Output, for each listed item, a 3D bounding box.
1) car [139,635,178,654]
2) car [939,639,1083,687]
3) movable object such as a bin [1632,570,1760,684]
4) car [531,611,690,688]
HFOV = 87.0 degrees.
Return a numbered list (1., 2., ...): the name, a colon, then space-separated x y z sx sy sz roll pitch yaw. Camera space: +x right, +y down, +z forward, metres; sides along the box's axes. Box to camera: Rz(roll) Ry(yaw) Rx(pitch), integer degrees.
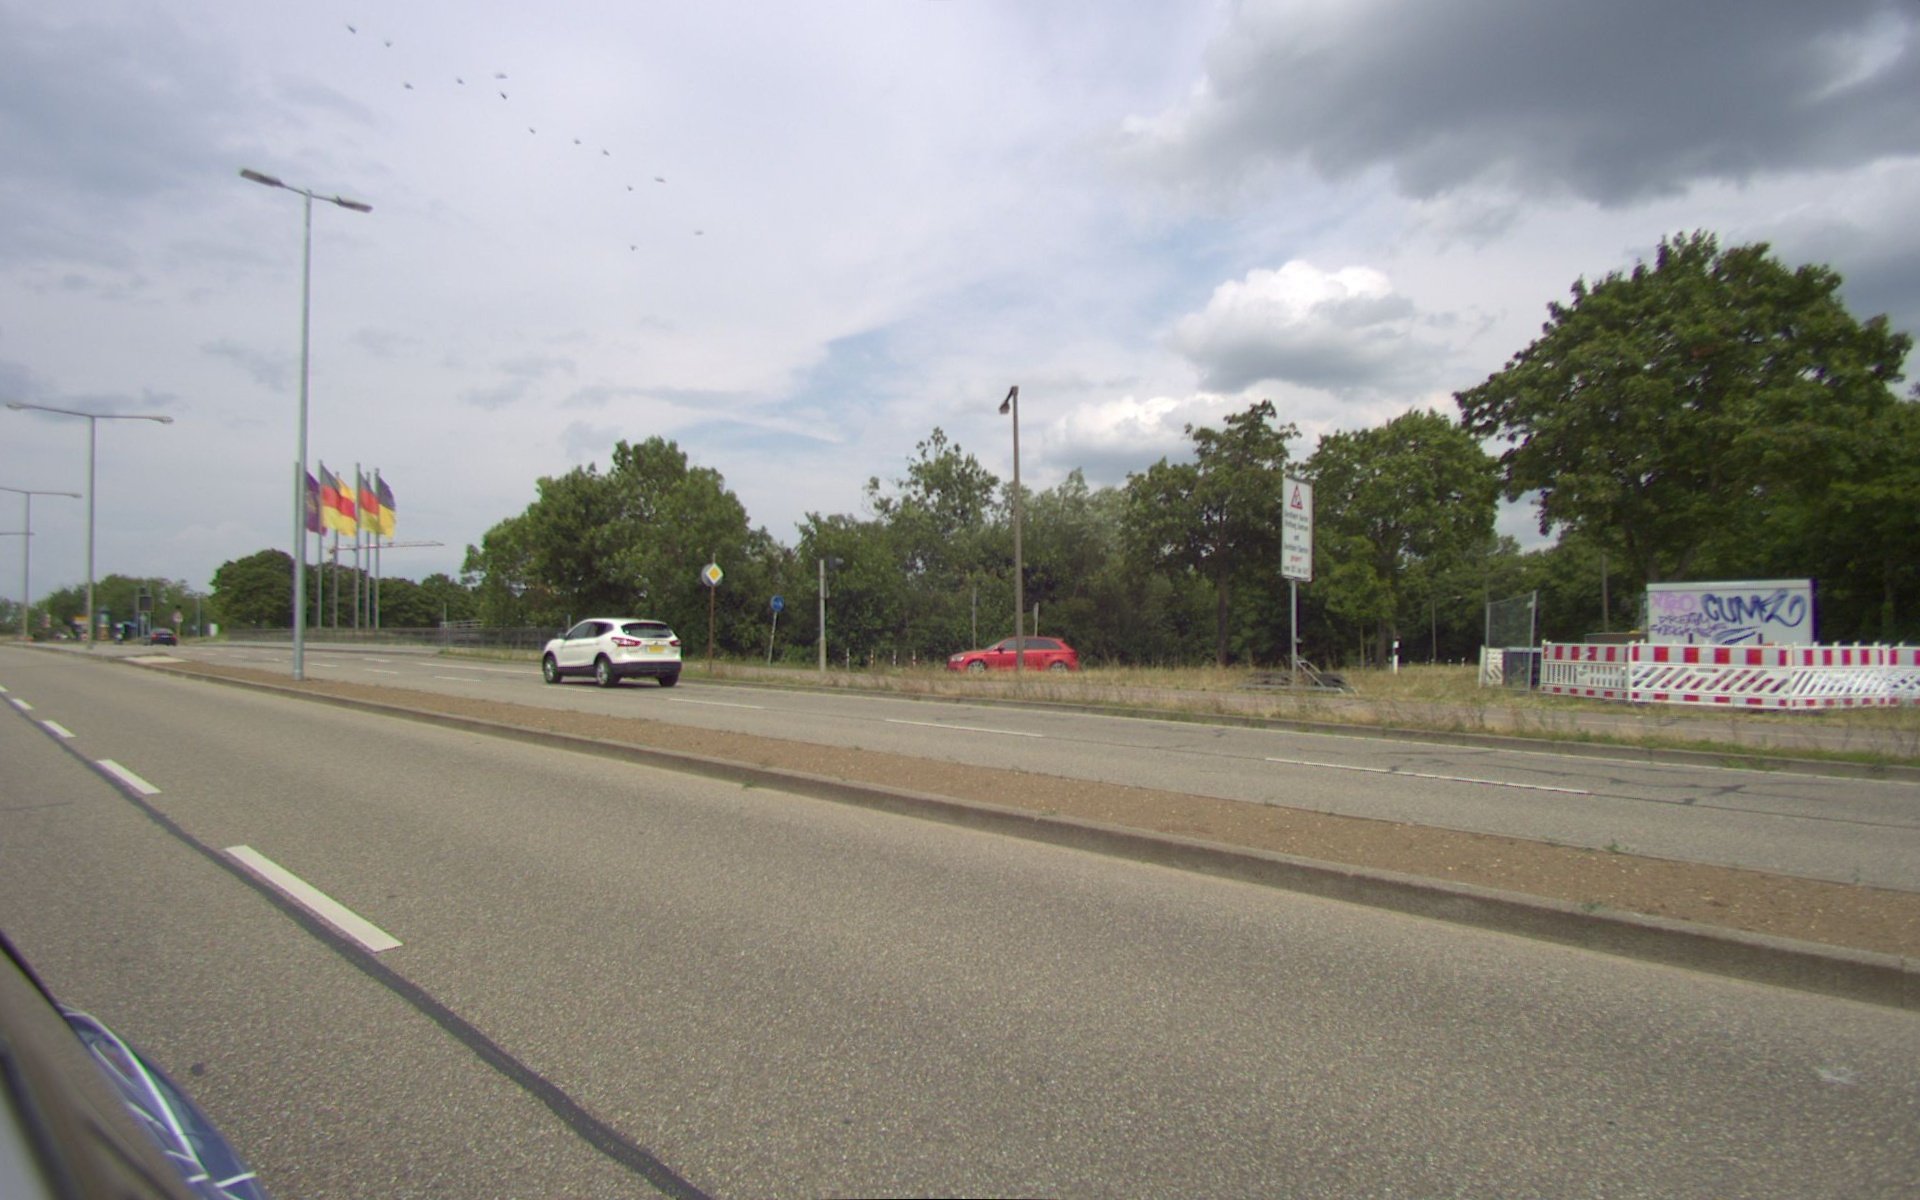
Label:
1. car: -64.256 3.555 81.102 1.970 1.384 4.581 3 -3 -43
2. car: 1.568 1.946 31.850 4.227 1.384 1.785 -1 -2 -9
3. movable object such as a bin: 17.234 0.655 23.913 1.993 2.415 4.543 -2 -2 32
4. car: -8.276 1.152 23.742 4.383 1.641 1.676 -3 -3 43
